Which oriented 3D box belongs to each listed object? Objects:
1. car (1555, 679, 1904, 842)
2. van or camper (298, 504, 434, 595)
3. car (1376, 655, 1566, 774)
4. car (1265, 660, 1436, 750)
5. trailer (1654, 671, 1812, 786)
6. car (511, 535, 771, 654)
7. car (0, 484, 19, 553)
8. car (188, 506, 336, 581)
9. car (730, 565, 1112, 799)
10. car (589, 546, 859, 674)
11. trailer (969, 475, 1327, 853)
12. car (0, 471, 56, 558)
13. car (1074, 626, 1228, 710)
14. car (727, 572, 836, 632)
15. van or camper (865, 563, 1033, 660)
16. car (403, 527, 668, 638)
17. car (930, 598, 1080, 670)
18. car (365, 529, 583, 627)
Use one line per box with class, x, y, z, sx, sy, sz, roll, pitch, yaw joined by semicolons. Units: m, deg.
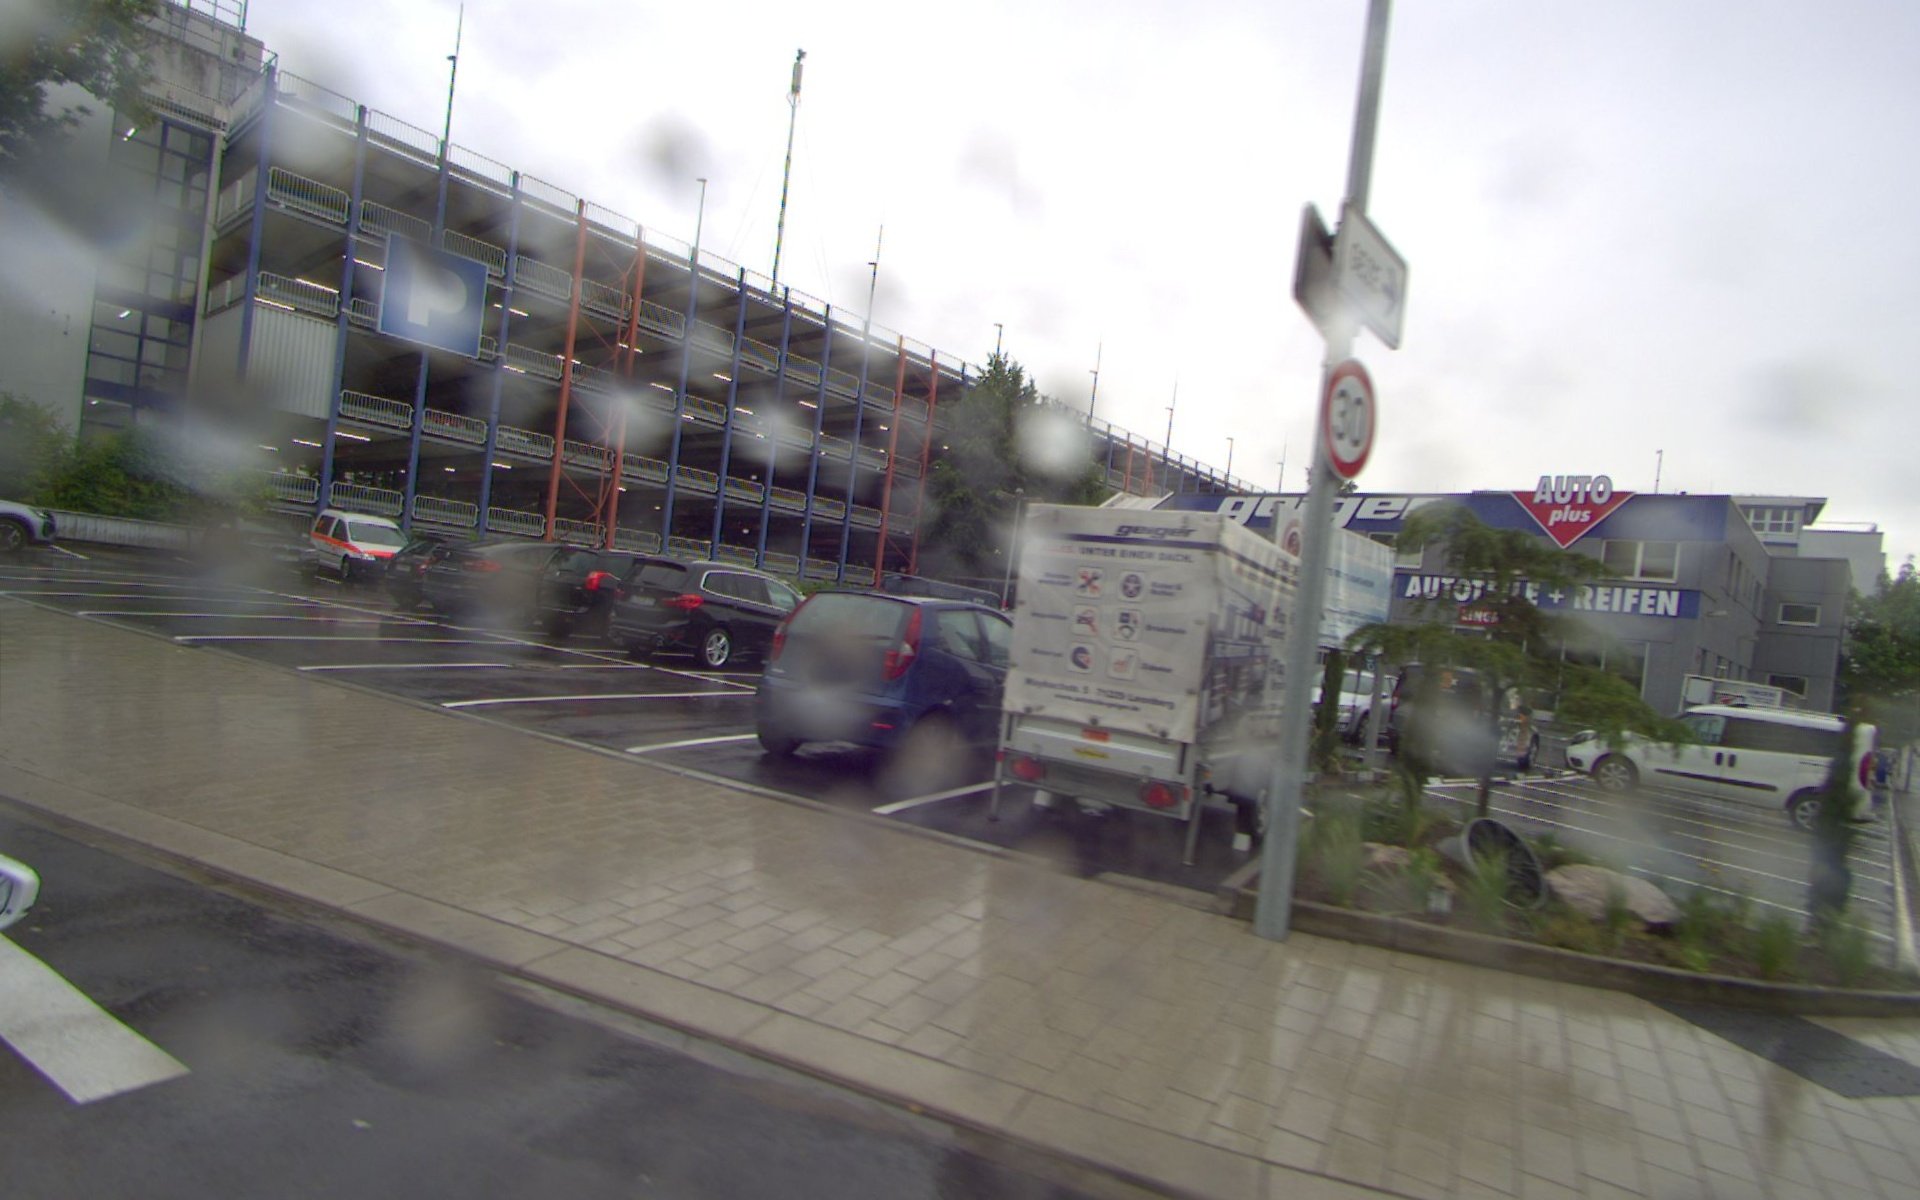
car;13.080;2.614;17.388;4.425;1.852;1.885;7;1;40
van or camper;-16.598;-1.448;28.029;4.399;2.061;1.835;7;-1;42
car;10.110;2.224;19.739;4.462;1.851;1.869;7;0;-45
car;8.438;2.238;21.580;1.841;1.516;4.116;7;0;44
trailer;23.839;4.006;30.903;5.862;2.763;2.901;12;-6;-44
car;-5.661;-0.015;18.439;1.756;1.678;4.362;7;-1;30
car;-23.041;-2.026;21.781;1.780;1.513;3.618;7;0;39
car;-18.057;-1.475;25.978;4.144;1.459;1.932;7;-1;39
car;-0.128;0.676;9.124;1.622;1.548;3.731;6;0;30
car;-3.713;0.262;16.702;1.813;1.671;4.365;7;-1;28
trailer;1.534;0.447;7.499;1.522;2.197;2.706;7;-1;32
car;-21.000;-1.939;20.013;1.971;1.671;4.201;7;1;40
car;4.754;1.682;24.636;1.837;1.688;4.123;7;0;39
car;-6.910;0.064;38.839;3.945;1.832;1.893;4;-6;41
van or camper;-0.215;0.403;29.692;2.189;2.355;4.952;7;0;37
car;-7.872;-0.249;19.127;1.808;1.578;4.364;7;-1;28
car;1.334;0.989;28.043;1.837;1.603;4.351;7;0;39
car;-9.932;-0.398;20.825;1.614;1.518;3.694;7;-1;30
